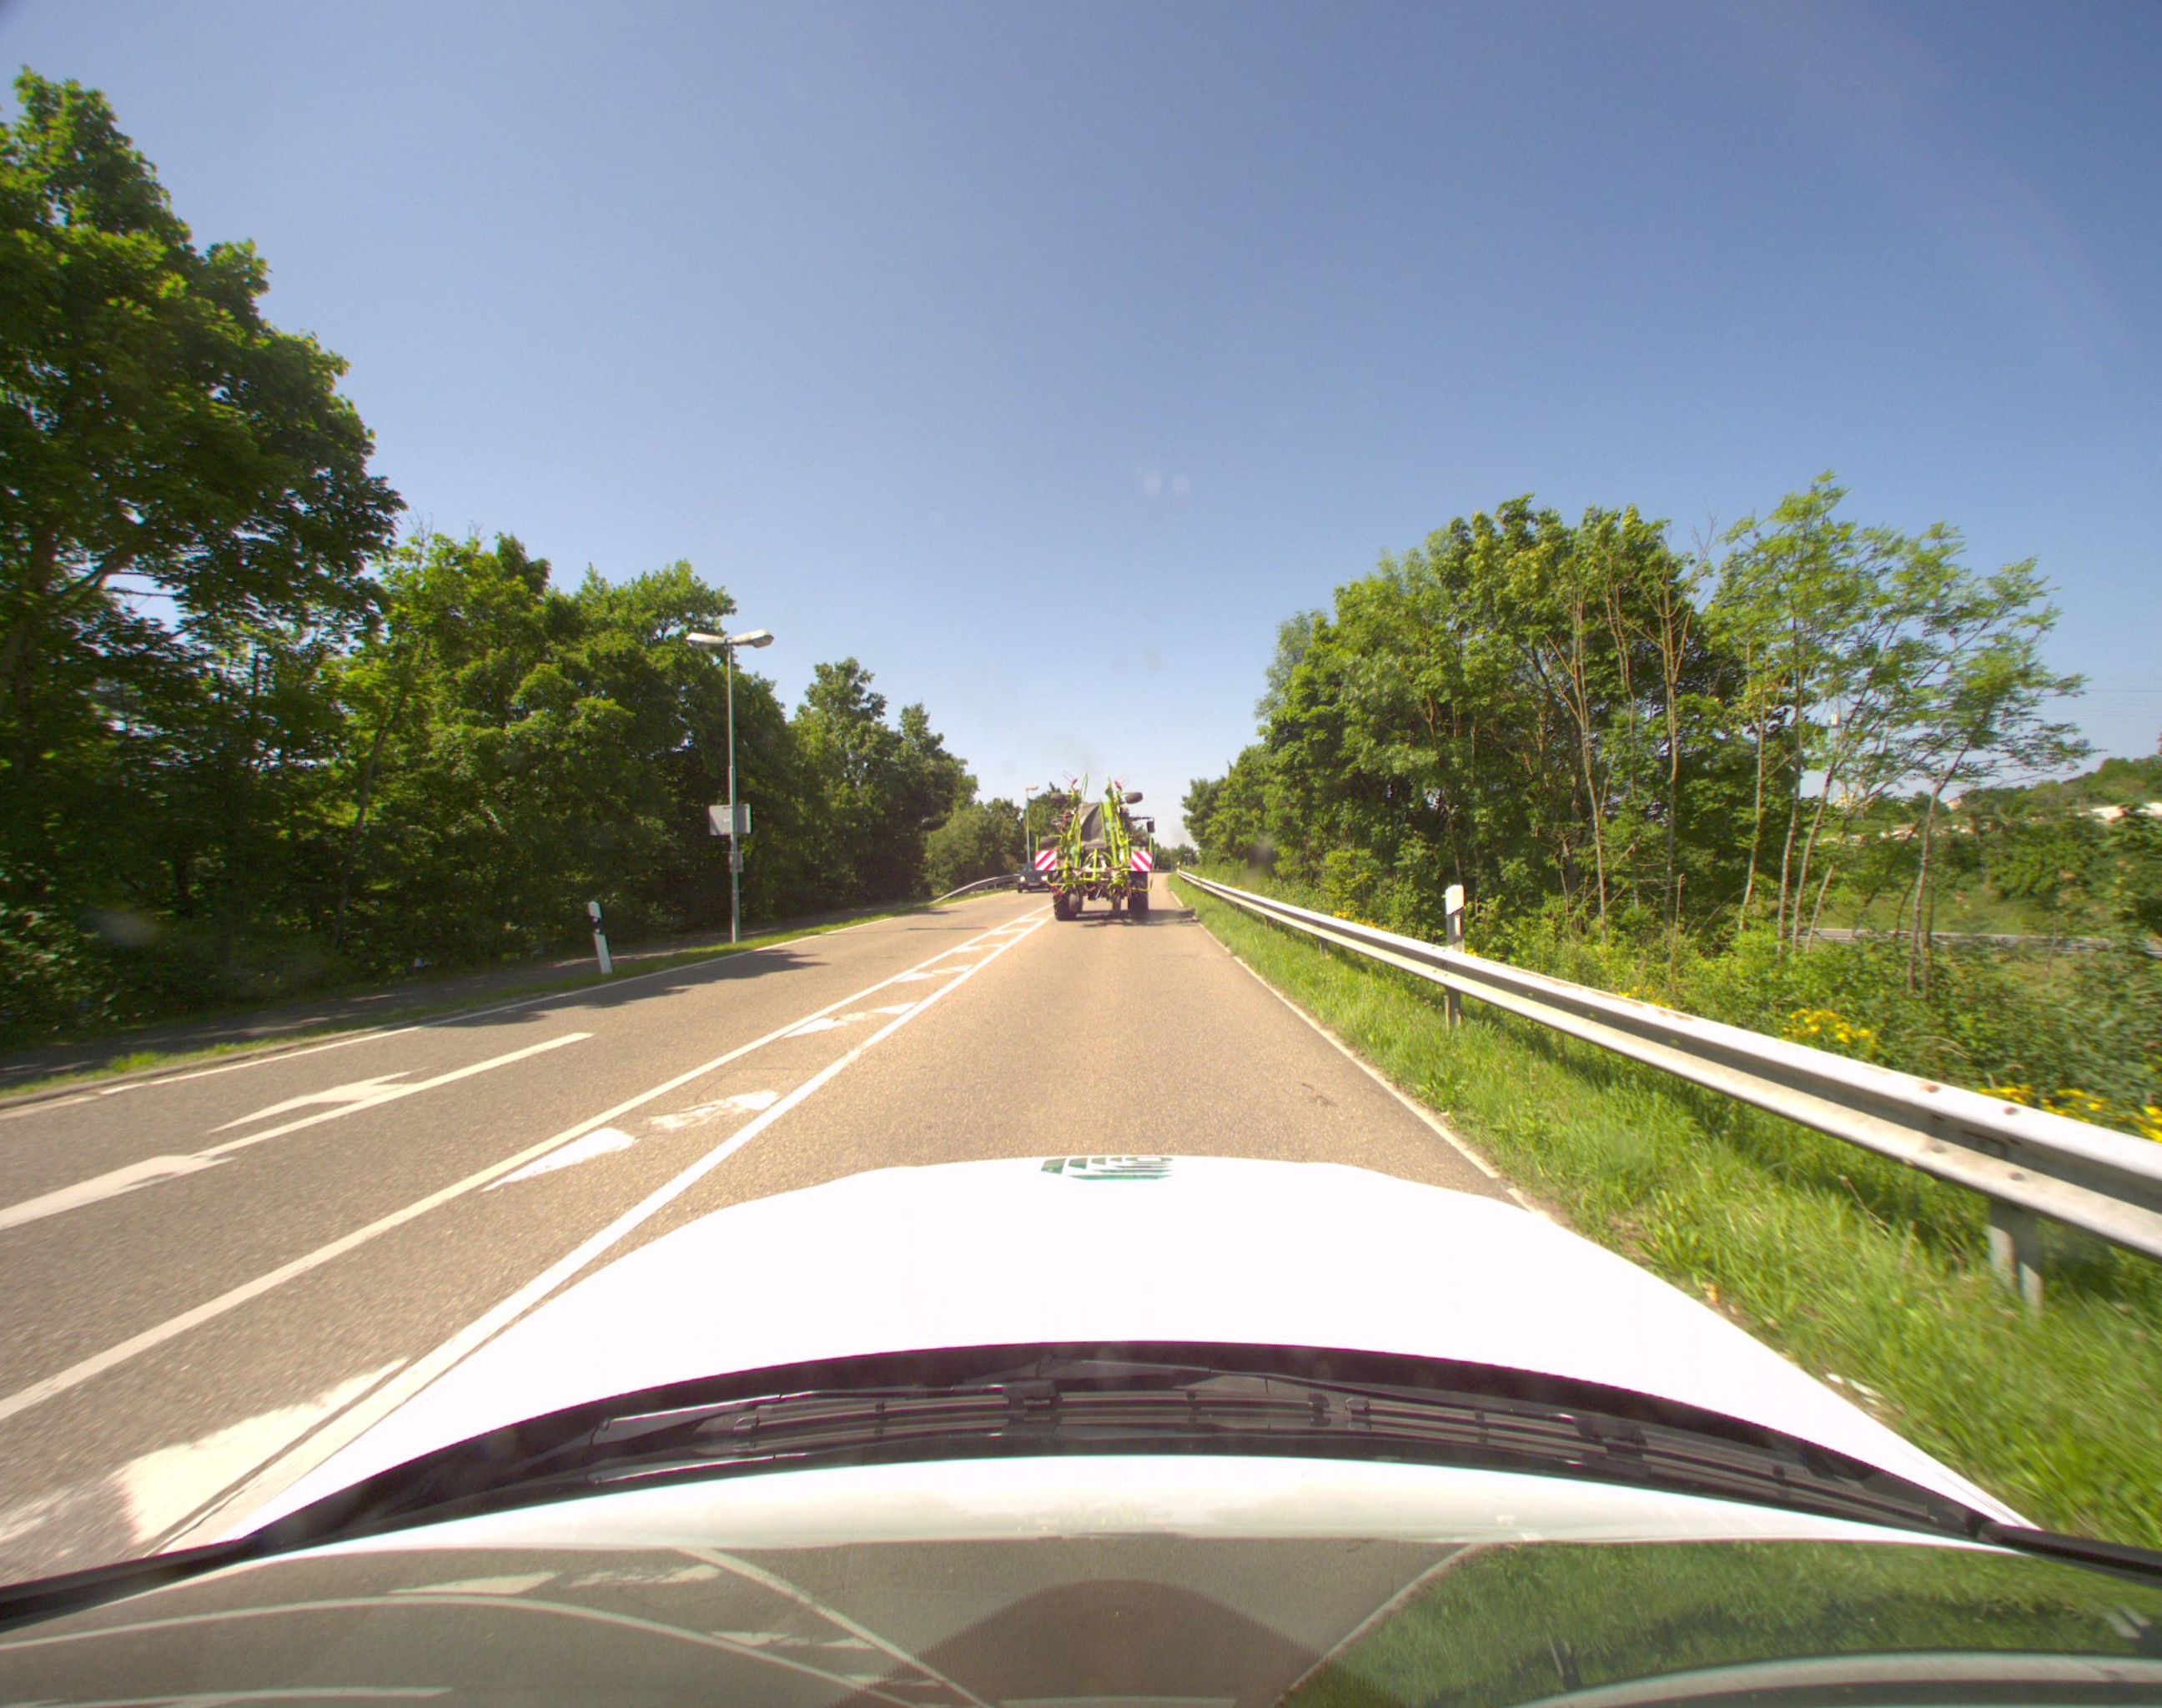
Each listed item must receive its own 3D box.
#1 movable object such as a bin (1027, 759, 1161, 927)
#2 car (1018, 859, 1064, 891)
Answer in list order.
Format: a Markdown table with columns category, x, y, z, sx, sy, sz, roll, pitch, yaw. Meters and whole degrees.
| category | x | y | z | sx | sy | sz | roll | pitch | yaw |
| --- | --- | --- | --- | --- | --- | --- | --- | --- | --- |
| movable object such as a bin | 0.425 | -0.207 | 19.870 | 2.744 | 3.444 | 5.674 | -1 | -1 | 3 |
| car | -1.818 | 0.953 | 37.809 | 1.619 | 1.404 | 3.438 | -1 | -1 | 6 |
